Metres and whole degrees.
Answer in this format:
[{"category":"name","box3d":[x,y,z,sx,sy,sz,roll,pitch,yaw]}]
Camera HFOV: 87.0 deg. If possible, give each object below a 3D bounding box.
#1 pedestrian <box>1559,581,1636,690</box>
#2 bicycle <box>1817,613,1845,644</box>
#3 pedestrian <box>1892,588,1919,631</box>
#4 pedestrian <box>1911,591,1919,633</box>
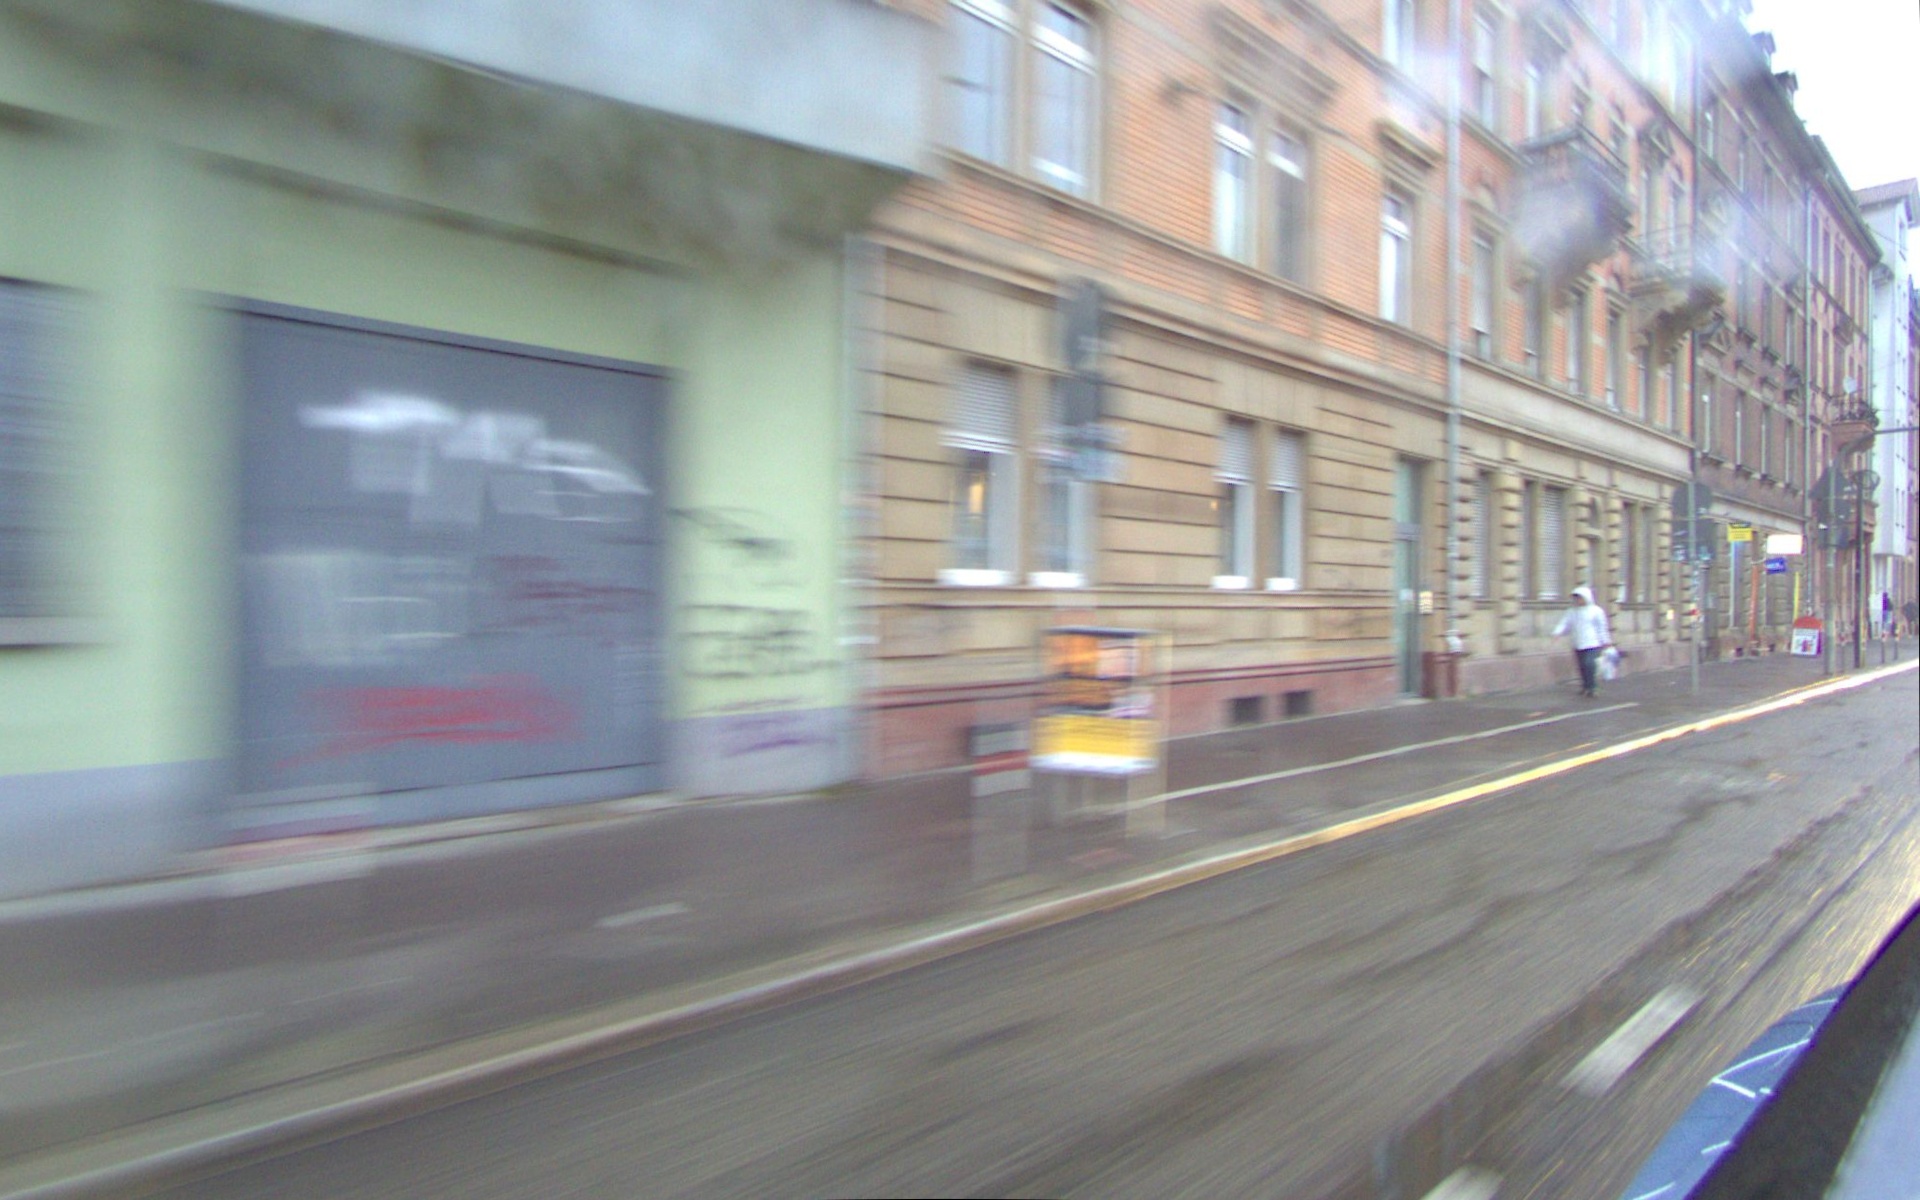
[{"category":"pedestrian","box3d":[9.790,0.519,15.549,0.728,1.617,0.788,0,0,-37]},{"category":"bicycle","box3d":[26.738,0.862,31.054,1.834,0.922,0.398,0,0,-41]},{"category":"pedestrian","box3d":[39.522,0.396,42.289,0.661,1.766,0.777,0,1,-40]},{"category":"pedestrian","box3d":[41.616,0.517,43.666,0.661,1.766,0.777,0,1,-40]}]
